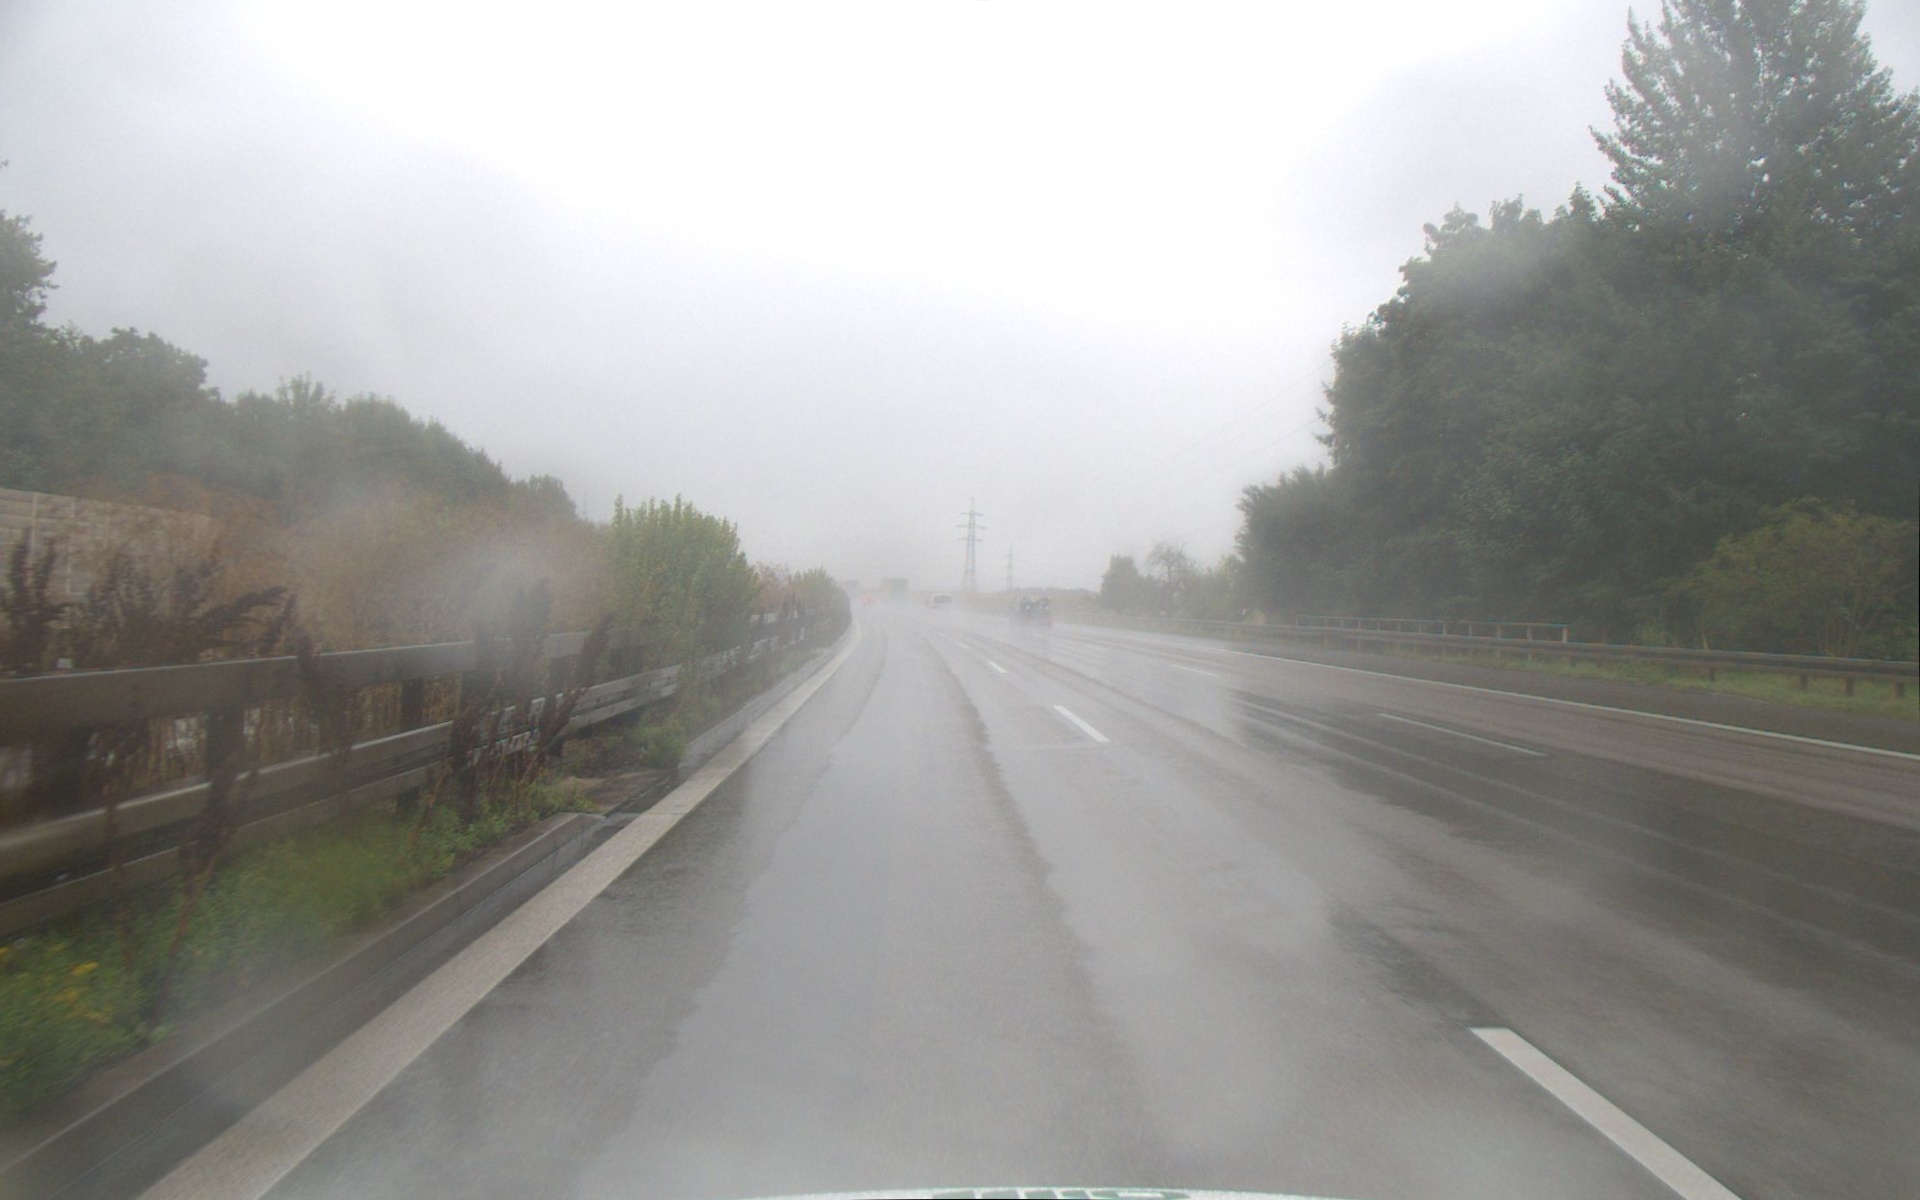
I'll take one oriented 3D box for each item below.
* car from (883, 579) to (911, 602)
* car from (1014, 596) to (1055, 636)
[{"bbox_3d":[-8.928,-1.343,233.863,3.140,3.248,7.242,1,0,-9],"label":"car"},{"bbox_3d":[4.203,0.887,94.184,1.772,2.196,3.995,1,0,-6],"label":"car"}]
